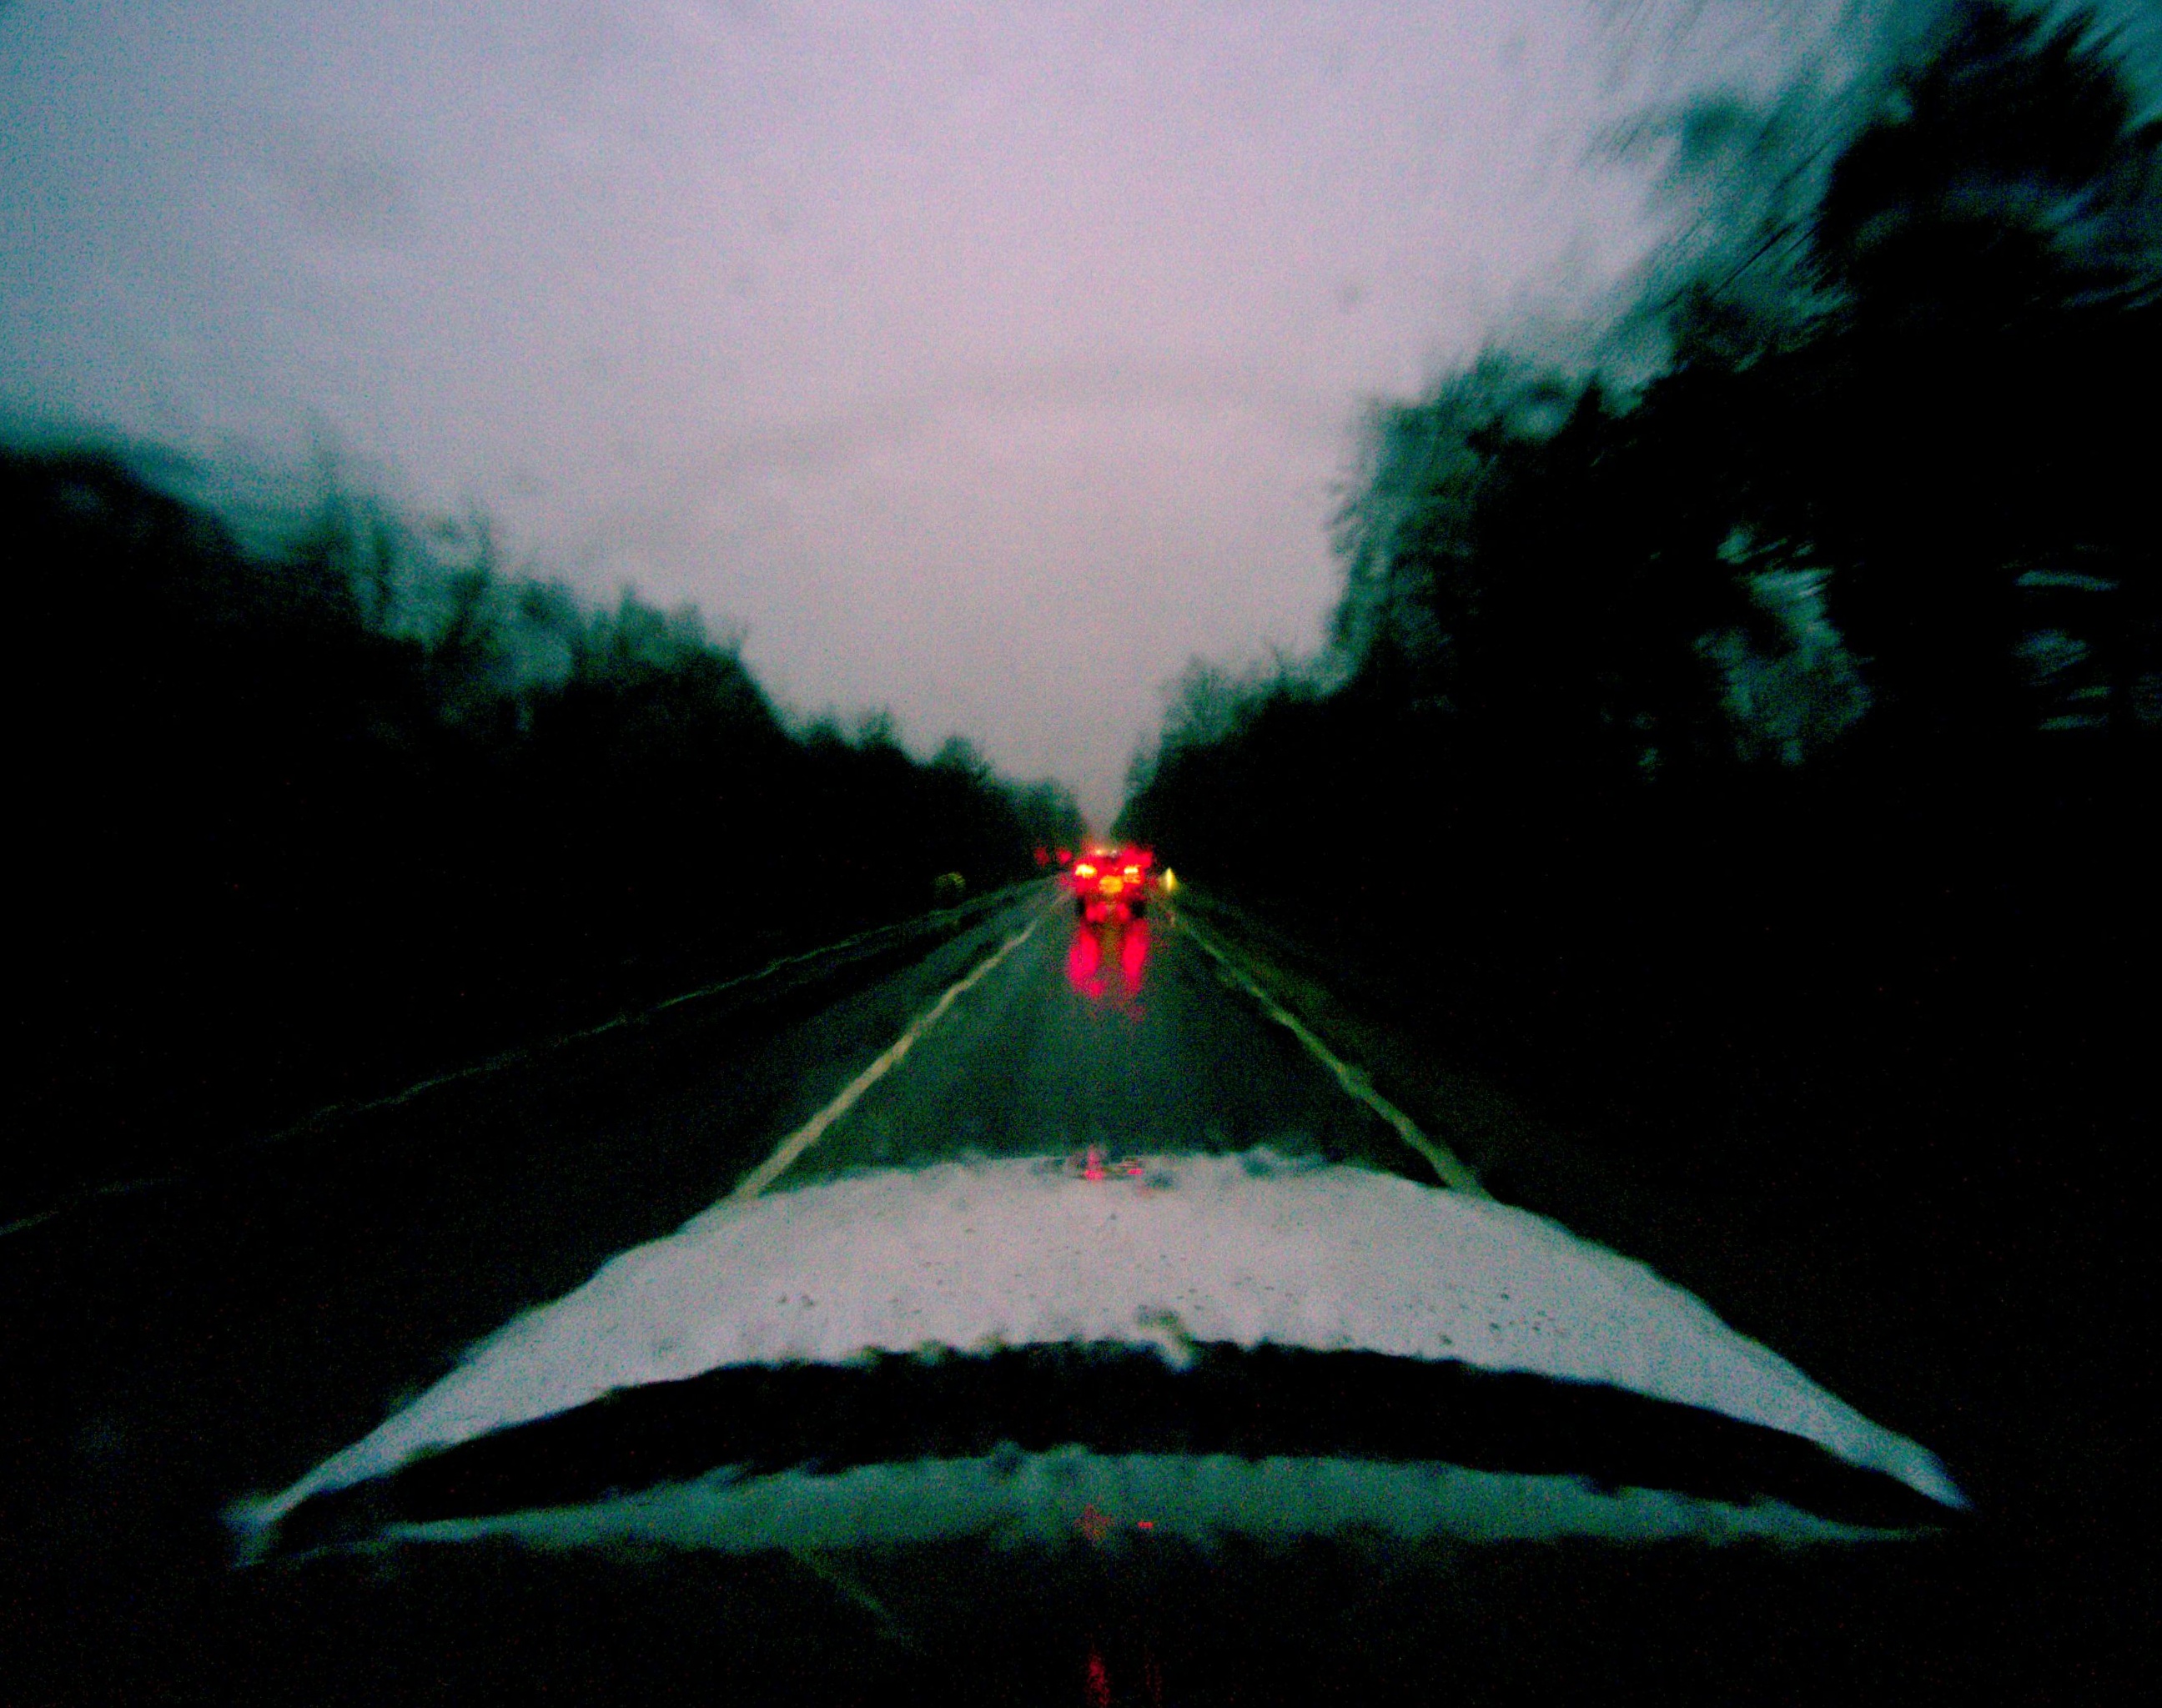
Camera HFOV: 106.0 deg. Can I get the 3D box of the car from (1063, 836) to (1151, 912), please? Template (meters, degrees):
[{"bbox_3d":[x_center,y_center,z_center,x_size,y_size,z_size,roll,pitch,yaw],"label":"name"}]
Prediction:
[{"bbox_3d":[0.704,0.488,22.830,2.190,1.877,4.828,-1,0,1],"label":"car"}]
